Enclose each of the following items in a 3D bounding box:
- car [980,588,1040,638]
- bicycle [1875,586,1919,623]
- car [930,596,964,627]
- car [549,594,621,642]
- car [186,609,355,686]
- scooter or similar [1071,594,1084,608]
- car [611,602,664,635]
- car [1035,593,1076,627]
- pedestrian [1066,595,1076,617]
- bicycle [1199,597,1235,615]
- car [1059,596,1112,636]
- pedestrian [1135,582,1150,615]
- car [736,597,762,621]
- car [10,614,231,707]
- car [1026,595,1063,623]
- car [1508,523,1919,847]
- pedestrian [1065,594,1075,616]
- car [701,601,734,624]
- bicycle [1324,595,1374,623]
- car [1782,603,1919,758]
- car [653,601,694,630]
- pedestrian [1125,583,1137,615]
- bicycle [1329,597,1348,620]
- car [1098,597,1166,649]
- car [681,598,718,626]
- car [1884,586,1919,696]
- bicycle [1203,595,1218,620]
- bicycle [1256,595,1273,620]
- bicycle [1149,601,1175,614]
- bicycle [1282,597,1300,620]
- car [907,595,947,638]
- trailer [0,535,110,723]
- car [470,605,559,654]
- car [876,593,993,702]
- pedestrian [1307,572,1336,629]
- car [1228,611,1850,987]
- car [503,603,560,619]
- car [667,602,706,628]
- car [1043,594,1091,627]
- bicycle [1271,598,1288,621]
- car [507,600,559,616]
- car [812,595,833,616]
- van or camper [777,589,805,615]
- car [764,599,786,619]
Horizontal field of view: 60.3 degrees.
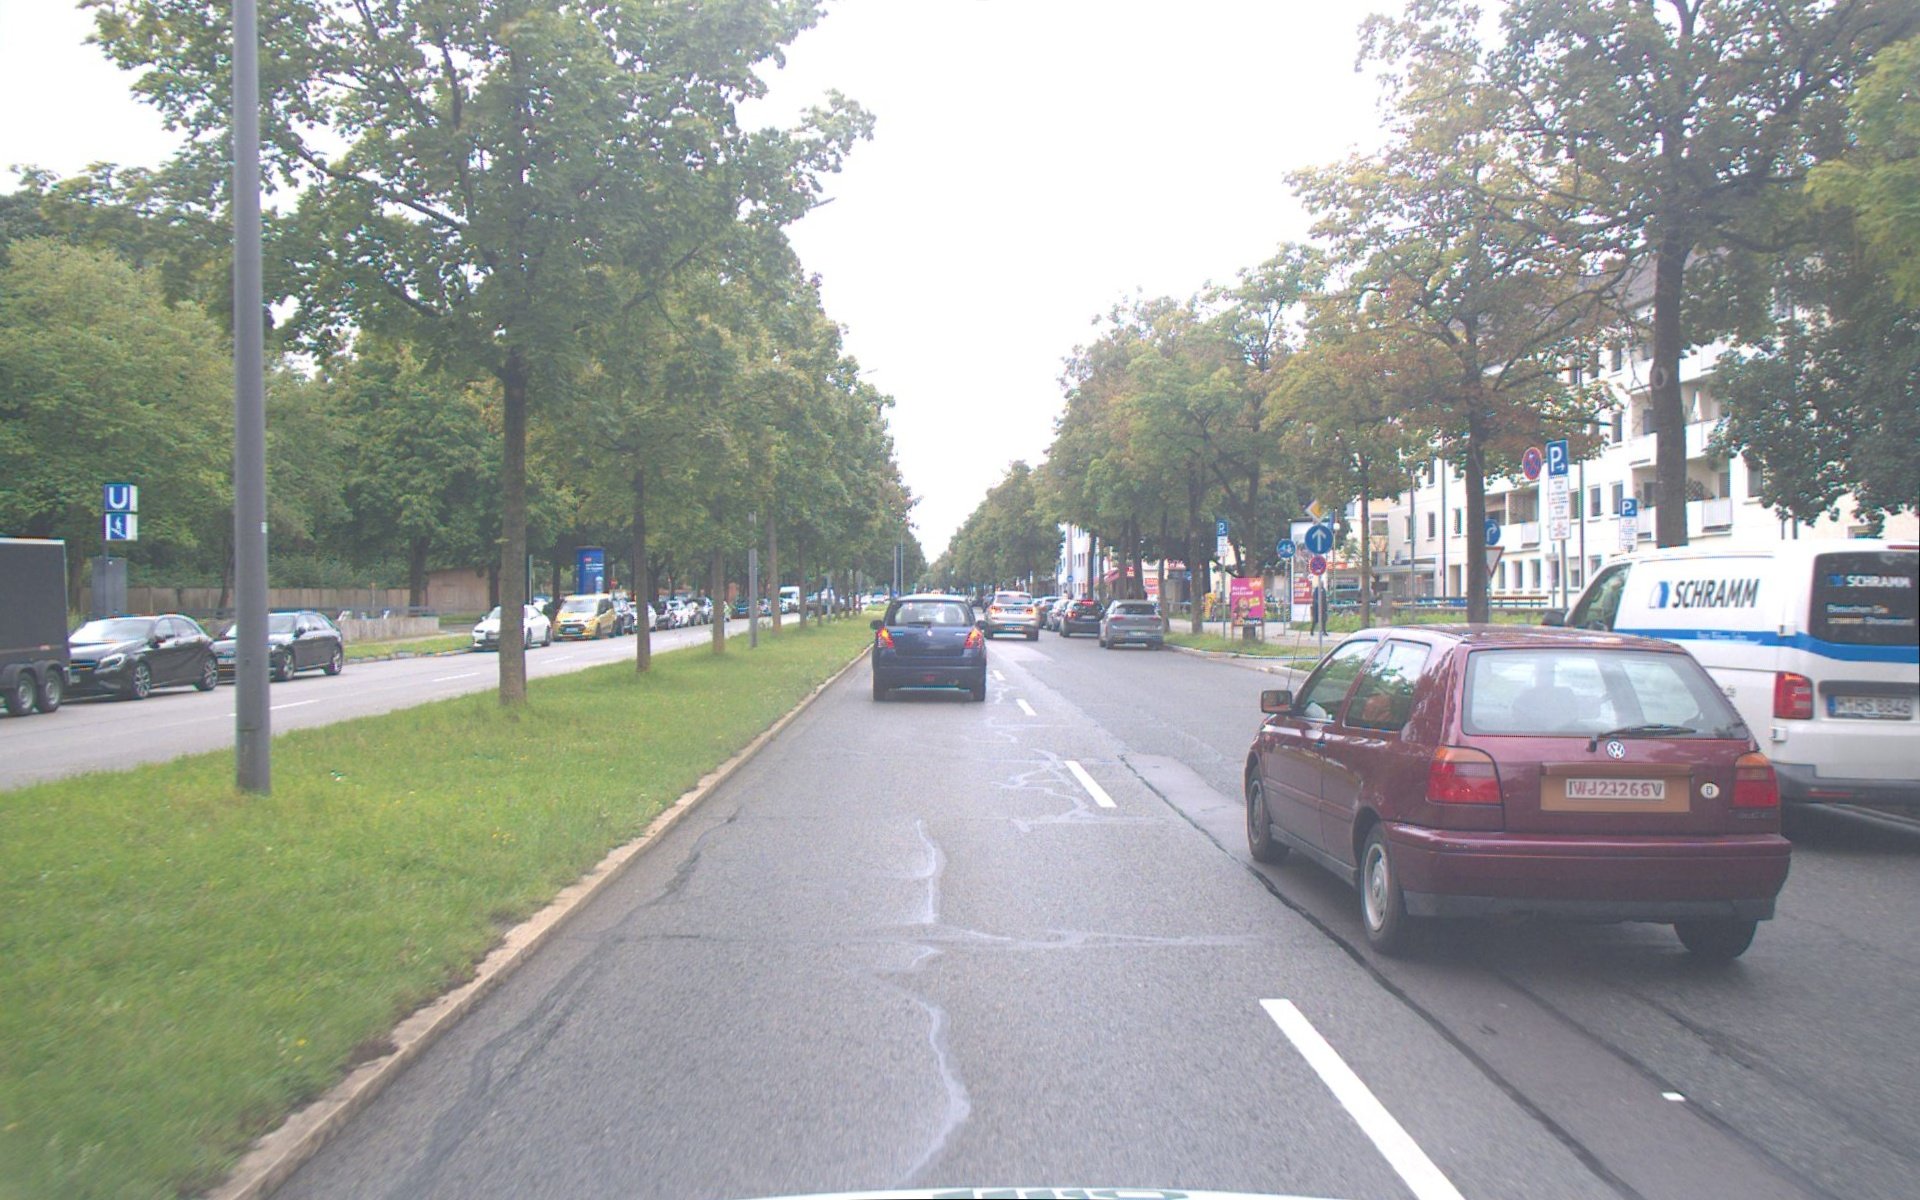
[{"bbox_3d":[1.736,0.437,59.080,1.828,1.690,4.406,1,0,-2],"label":"car"},{"bbox_3d":[25.826,0.114,44.990,1.658,0.988,0.455,-1,0,-5],"label":"bicycle"},{"bbox_3d":[-0.665,0.545,81.183,1.648,1.488,3.733,0,0,-1],"label":"car"},{"bbox_3d":[-15.297,0.703,67.705,1.777,1.814,4.817,-2,0,0],"label":"car"},{"bbox_3d":[-14.662,0.964,35.440,1.764,1.450,4.430,-2,0,-1],"label":"car"},{"bbox_3d":[11.379,0.062,159.954,1.011,1.330,2.755,0,0,0],"label":"scooter or similar"},{"bbox_3d":[-15.628,0.862,80.330,1.727,1.475,4.531,-2,0,-2],"label":"car"},{"bbox_3d":[4.631,0.475,80.649,1.682,1.560,4.274,1,0,-1],"label":"car"},{"bbox_3d":[10.290,0.539,153.198,0.778,2.049,1.006,0,0,-1],"label":"pedestrian"},{"bbox_3d":[14.017,0.341,90.219,1.839,0.956,0.558,1,0,0],"label":"bicycle"},{"bbox_3d":[4.827,0.590,64.200,1.715,1.491,4.176,1,0,0],"label":"car"},{"bbox_3d":[10.895,-0.077,98.700,0.714,1.923,0.919,-1,0,-2],"label":"pedestrian"},{"bbox_3d":[-16.323,0.703,128.072,1.682,1.771,3.877,1,0,-2],"label":"car"},{"bbox_3d":[-14.735,1.010,29.310,1.764,1.408,4.237,-2,0,-1],"label":"car"},{"bbox_3d":[4.609,0.481,90.927,1.648,1.491,4.136,2,0,-2],"label":"car"},{"bbox_3d":[5.948,0.518,12.565,1.843,1.961,4.932,1,0,-1],"label":"car"},{"bbox_3d":[10.162,0.430,152.744,0.778,2.049,1.006,0,0,-1],"label":"pedestrian"},{"bbox_3d":[-16.214,0.795,110.621,1.515,1.434,3.880,-2,0,1],"label":"car"},{"bbox_3d":[15.257,0.354,64.823,1.842,1.046,0.432,-1,0,-7],"label":"bicycle"},{"bbox_3d":[9.862,0.770,15.716,1.693,1.457,4.690,1,0,-1],"label":"car"},{"bbox_3d":[-15.814,0.853,91.449,1.574,1.469,4.278,-2,0,-1],"label":"car"},{"bbox_3d":[10.212,-0.050,98.658,0.576,1.923,0.901,-1,0,-2],"label":"pedestrian"},{"bbox_3d":[17.742,0.392,77.503,0.422,1.046,1.883,-1,0,0],"label":"bicycle"},{"bbox_3d":[5.213,0.659,50.468,1.647,1.491,4.115,1,0,0],"label":"car"},{"bbox_3d":[-16.064,0.715,102.292,1.657,1.614,4.369,-2,0,-2],"label":"car"},{"bbox_3d":[15.385,0.606,23.874,1.784,1.662,4.198,-1,0,1],"label":"car"},{"bbox_3d":[11.939,0.358,78.803,0.422,1.153,1.883,-1,1,0],"label":"bicycle"},{"bbox_3d":[14.268,0.344,77.501,0.422,1.120,1.883,-1,0,0],"label":"bicycle"},{"bbox_3d":[14.739,0.561,120.568,1.810,0.974,0.557,1,0,-2],"label":"bicycle"},{"bbox_3d":[15.496,0.412,77.418,0.422,1.046,1.883,-1,0,0],"label":"bicycle"},{"bbox_3d":[-1.228,0.588,60.401,1.415,1.509,3.105,0,0,-2],"label":"car"},{"bbox_3d":[-14.454,0.440,23.819,1.976,2.635,4.658,-2,0,-1],"label":"trailer"},{"bbox_3d":[-15.272,0.974,56.907,1.819,1.498,4.873,-2,0,-2],"label":"car"},{"bbox_3d":[-0.422,0.653,25.112,1.648,1.528,3.917,0,0,-2],"label":"car"},{"bbox_3d":[11.210,0.014,51.267,0.633,1.760,0.594,1,-1,-33],"label":"pedestrian"},{"bbox_3d":[2.566,0.789,8.360,1.648,1.408,3.917,1,0,-2],"label":"car"},{"bbox_3d":[-32.630,0.830,125.966,4.324,1.222,1.669,0,-1,31],"label":"car"},{"bbox_3d":[-15.926,0.855,96.506,1.558,1.421,3.631,-2,0,1],"label":"car"},{"bbox_3d":[4.778,0.468,74.619,1.603,1.410,4.241,1,0,-4],"label":"car"},{"bbox_3d":[14.958,0.431,77.420,0.422,1.046,1.883,-1,0,0],"label":"bicycle"},{"bbox_3d":[-40.989,0.791,158.833,4.595,1.471,1.672,1,0,-1],"label":"car"},{"bbox_3d":[-13.646,0.525,164.593,1.763,1.967,4.992,-2,0,-2],"label":"car"},{"bbox_3d":[-17.253,0.214,169.404,2.073,2.525,7.448,0,0,0],"label":"van or camper"},{"bbox_3d":[-16.744,0.804,149.893,1.599,1.771,3.877,1,0,-2],"label":"car"}]
